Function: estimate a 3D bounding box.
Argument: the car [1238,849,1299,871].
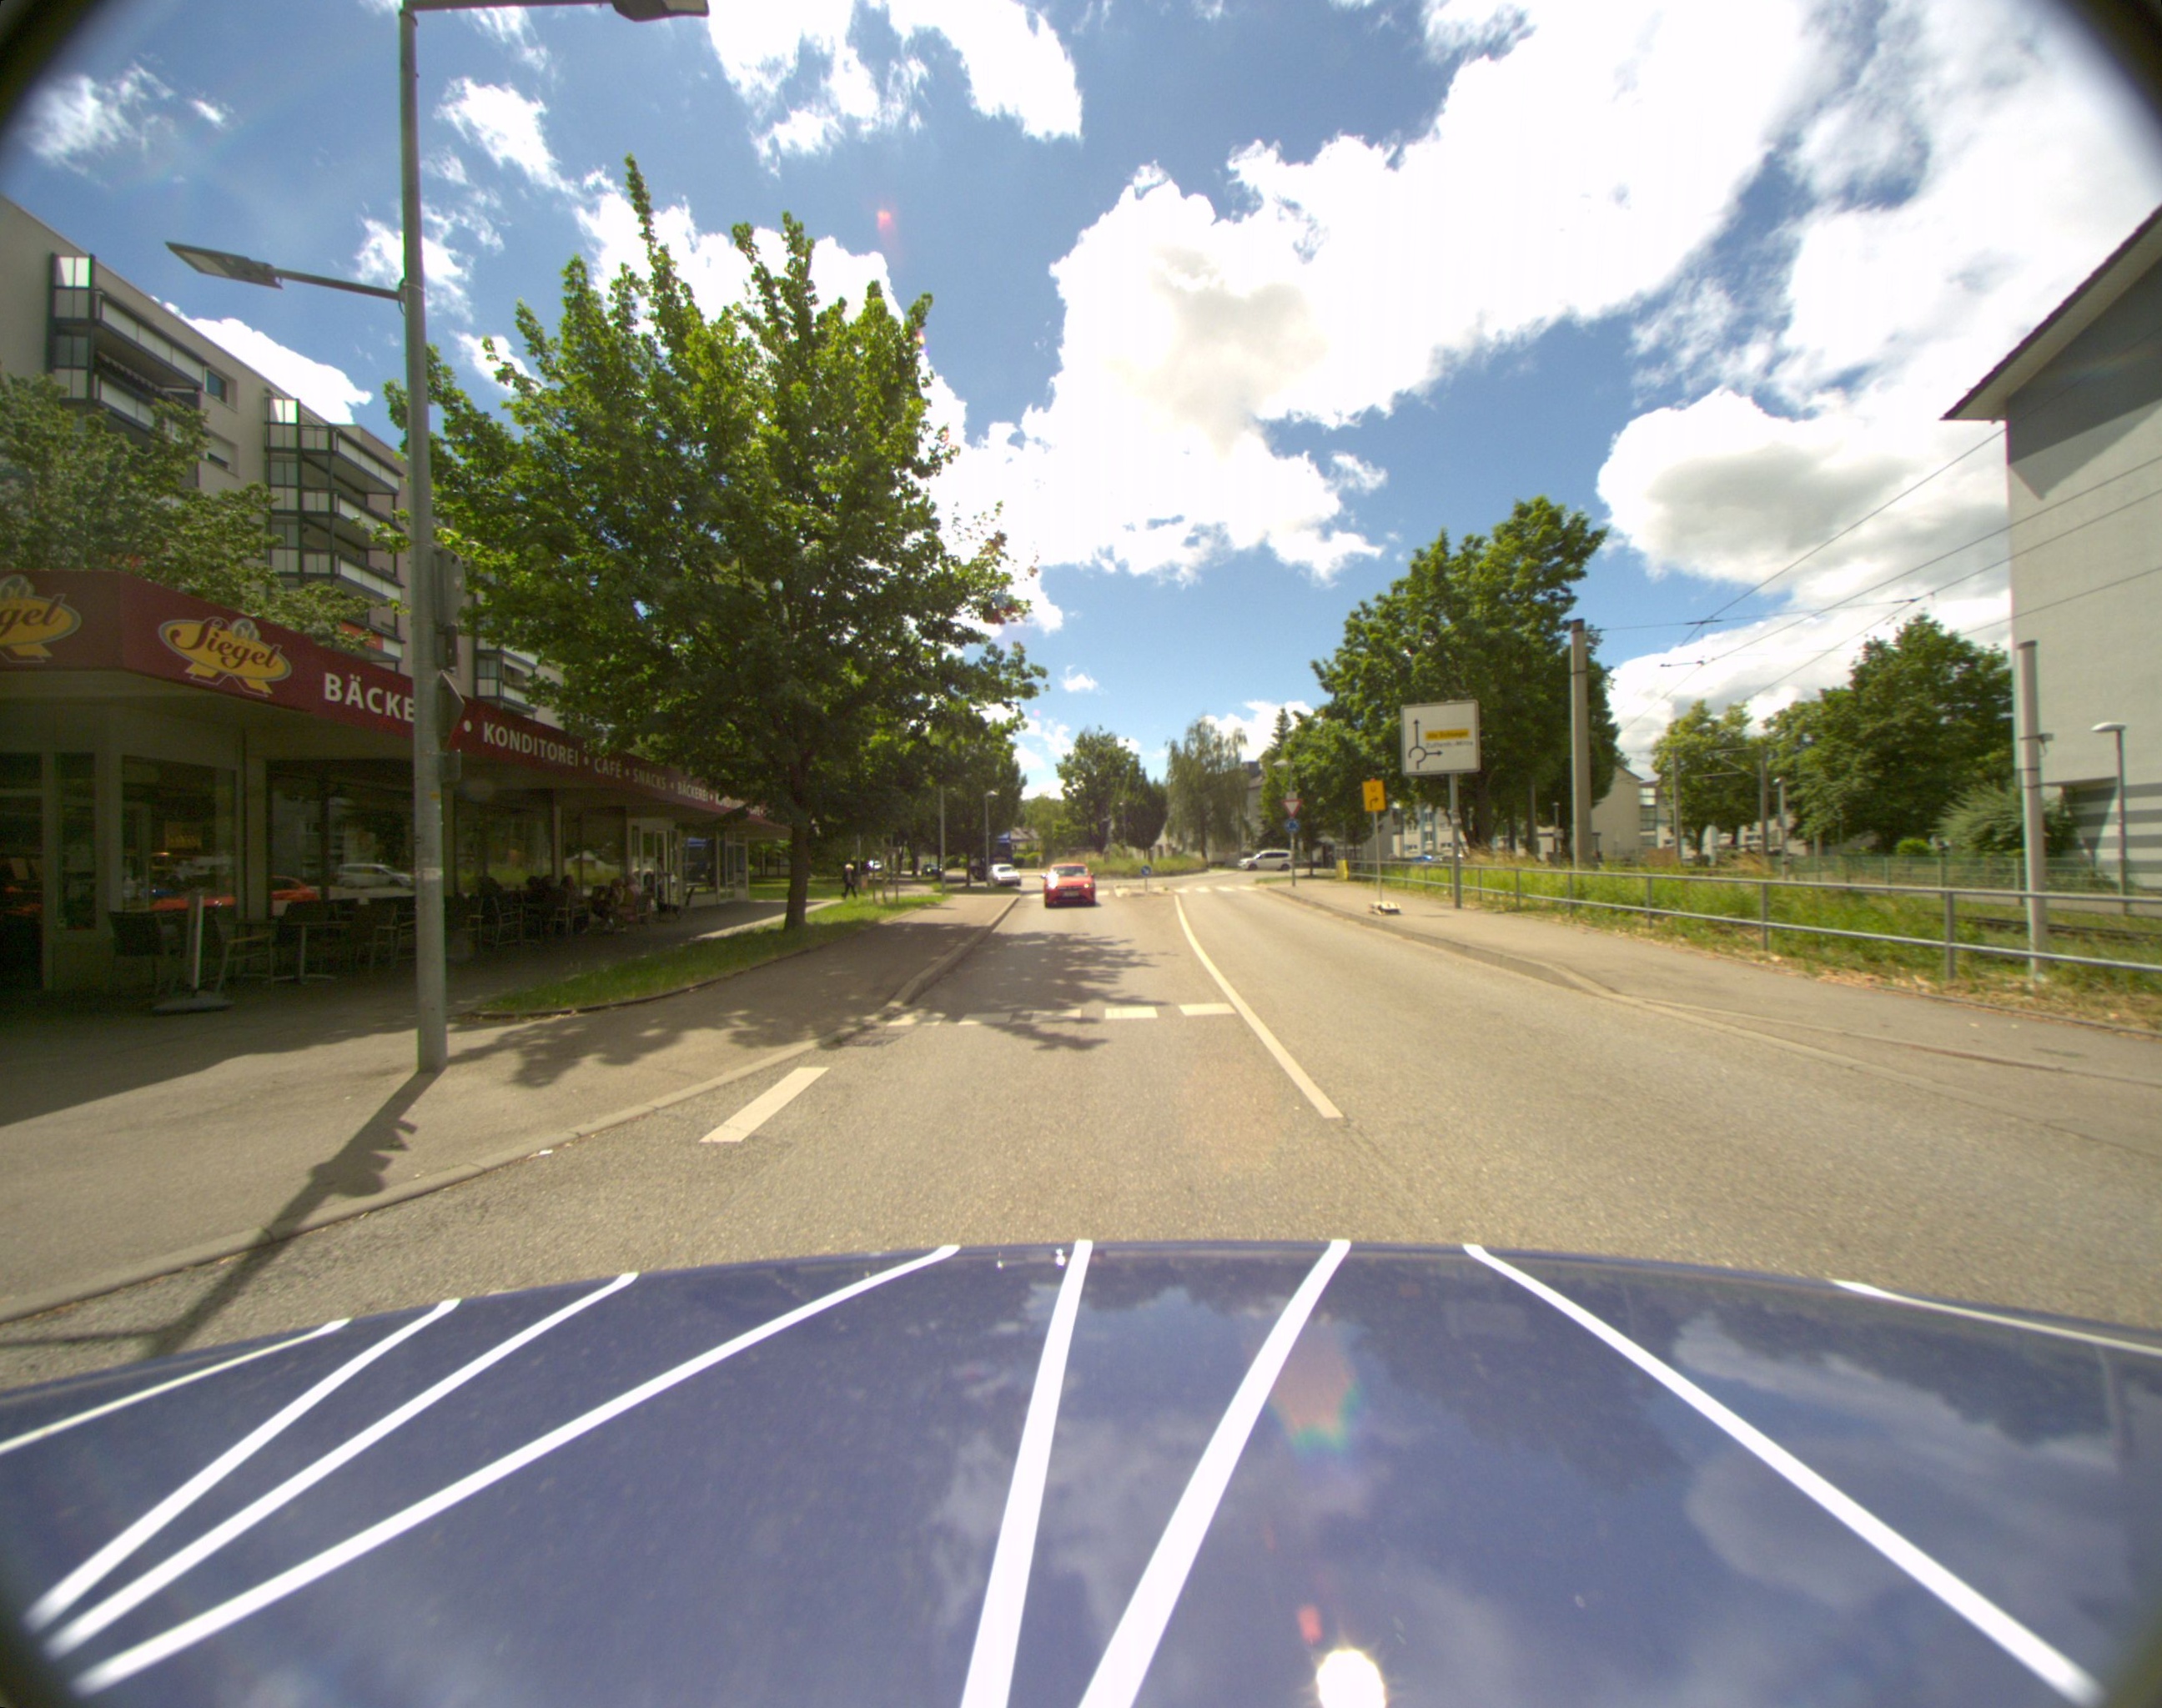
[{"bbox_3d":[15.842,0.536,64.371,4.616,1.786,2.000,-1,0,-2],"label":"car"}]

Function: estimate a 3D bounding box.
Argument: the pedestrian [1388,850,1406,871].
[{"bbox_3d":[24.495,0.501,58.924,0.875,1.655,1.022,-1,0,-3],"label":"pedestrian"}]

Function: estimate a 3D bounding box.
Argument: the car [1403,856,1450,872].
[{"bbox_3d":[33.960,0.981,74.782,1.811,1.514,4.116,-1,0,-20],"label":"car"}]

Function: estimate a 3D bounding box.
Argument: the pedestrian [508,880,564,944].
[{"bbox_3d":[-11.178,1.187,15.605,0.677,1.259,0.674,1,1,-6],"label":"pedestrian"}]

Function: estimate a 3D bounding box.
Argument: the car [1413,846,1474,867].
[{"bbox_3d":[32.104,0.226,67.345,4.619,1.786,1.998,-1,0,-9],"label":"car"}]

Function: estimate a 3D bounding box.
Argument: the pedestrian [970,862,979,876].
[{"bbox_3d":[-10.527,1.465,75.392,0.691,1.416,0.922,-1,0,5],"label":"pedestrian"}]

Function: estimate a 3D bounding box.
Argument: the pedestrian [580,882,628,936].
[{"bbox_3d":[-10.653,1.222,16.984,0.674,1.145,0.677,1,1,-8],"label":"pedestrian"}]

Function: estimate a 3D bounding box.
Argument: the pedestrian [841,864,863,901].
[{"bbox_3d":[-9.724,1.197,32.333,0.726,1.529,0.654,-1,0,-3],"label":"pedestrian"}]

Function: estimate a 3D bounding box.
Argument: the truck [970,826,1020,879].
[{"bbox_3d":[-7.389,-0.083,63.972,2.633,4.069,9.596,-1,0,-16],"label":"truck"}]

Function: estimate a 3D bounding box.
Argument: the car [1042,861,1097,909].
[{"bbox_3d":[-0.378,1.024,26.320,1.712,1.439,3.670,-3,0,0],"label":"car"}]

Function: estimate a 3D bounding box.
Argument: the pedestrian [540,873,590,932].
[{"bbox_3d":[-11.442,1.074,16.856,0.674,1.259,0.677,1,1,-8],"label":"pedestrian"}]

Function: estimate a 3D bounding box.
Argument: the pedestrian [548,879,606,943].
[{"bbox_3d":[-10.272,1.149,15.511,0.674,1.259,0.825,1,0,-8],"label":"pedestrian"}]

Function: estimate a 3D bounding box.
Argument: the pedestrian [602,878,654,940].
[{"bbox_3d":[-9.745,1.173,16.359,0.677,1.259,0.674,1,1,5],"label":"pedestrian"}]

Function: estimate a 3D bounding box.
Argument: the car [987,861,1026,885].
[{"bbox_3d":[-4.965,1.216,50.160,1.763,1.514,3.819,-1,0,-18],"label":"car"}]

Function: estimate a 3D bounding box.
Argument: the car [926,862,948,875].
[{"bbox_3d":[-16.025,1.592,84.309,1.811,1.346,3.993,-1,0,-19],"label":"car"}]
